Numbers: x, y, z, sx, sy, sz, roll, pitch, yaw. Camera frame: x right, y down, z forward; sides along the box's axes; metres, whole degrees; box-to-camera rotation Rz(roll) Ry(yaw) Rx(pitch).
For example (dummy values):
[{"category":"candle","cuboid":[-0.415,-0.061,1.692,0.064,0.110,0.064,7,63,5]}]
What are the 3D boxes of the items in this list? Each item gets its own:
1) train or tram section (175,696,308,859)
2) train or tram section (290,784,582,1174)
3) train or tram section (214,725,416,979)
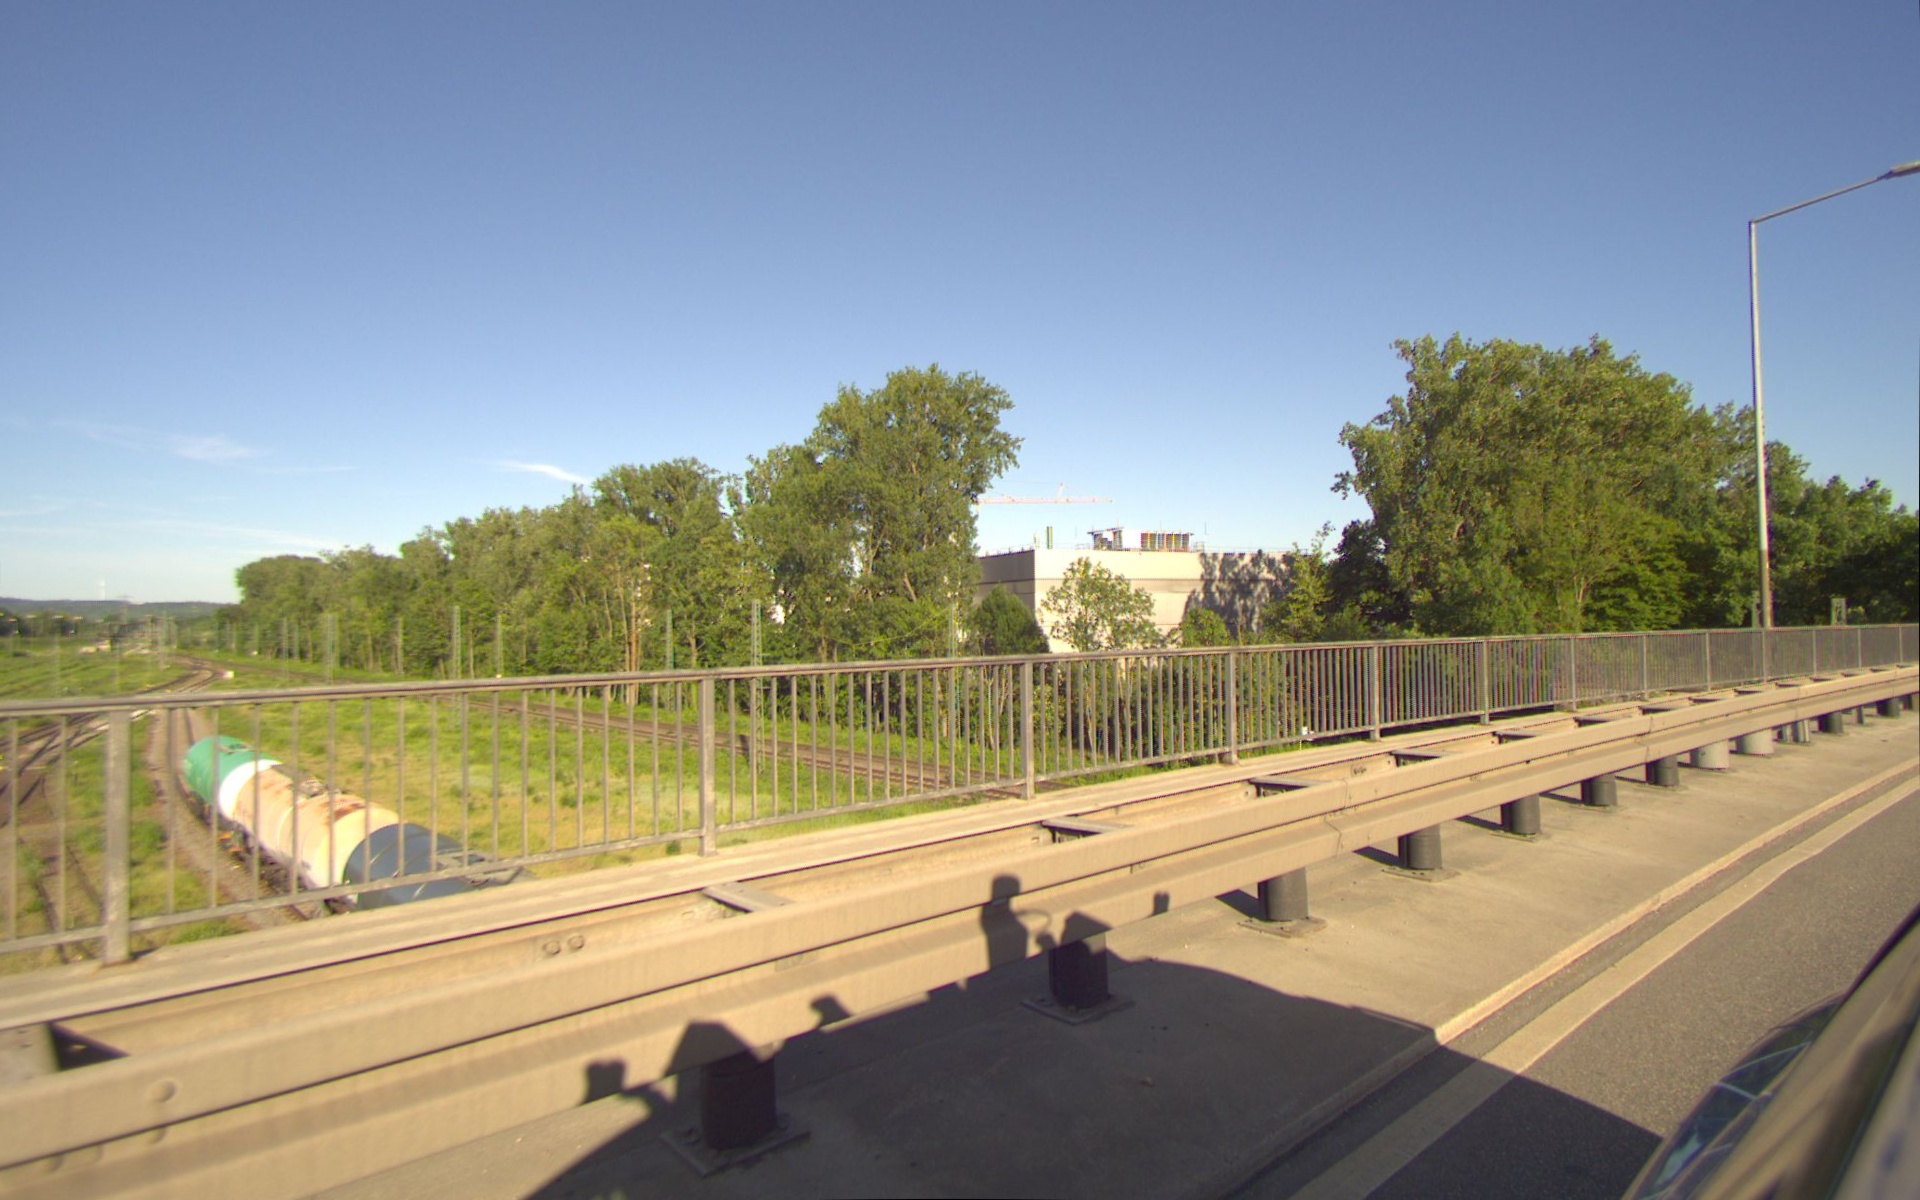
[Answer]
[{"category":"train or tram section","cuboid":[-34.888,8.002,48.731,3.280,5.248,15.147,0,1,-43]},{"category":"train or tram section","cuboid":[-13.941,8.560,25.915,3.280,5.331,13.057,0,1,-43]},{"category":"train or tram section","cuboid":[-24.059,8.290,36.976,3.280,5.327,16.846,0,1,-43]}]
